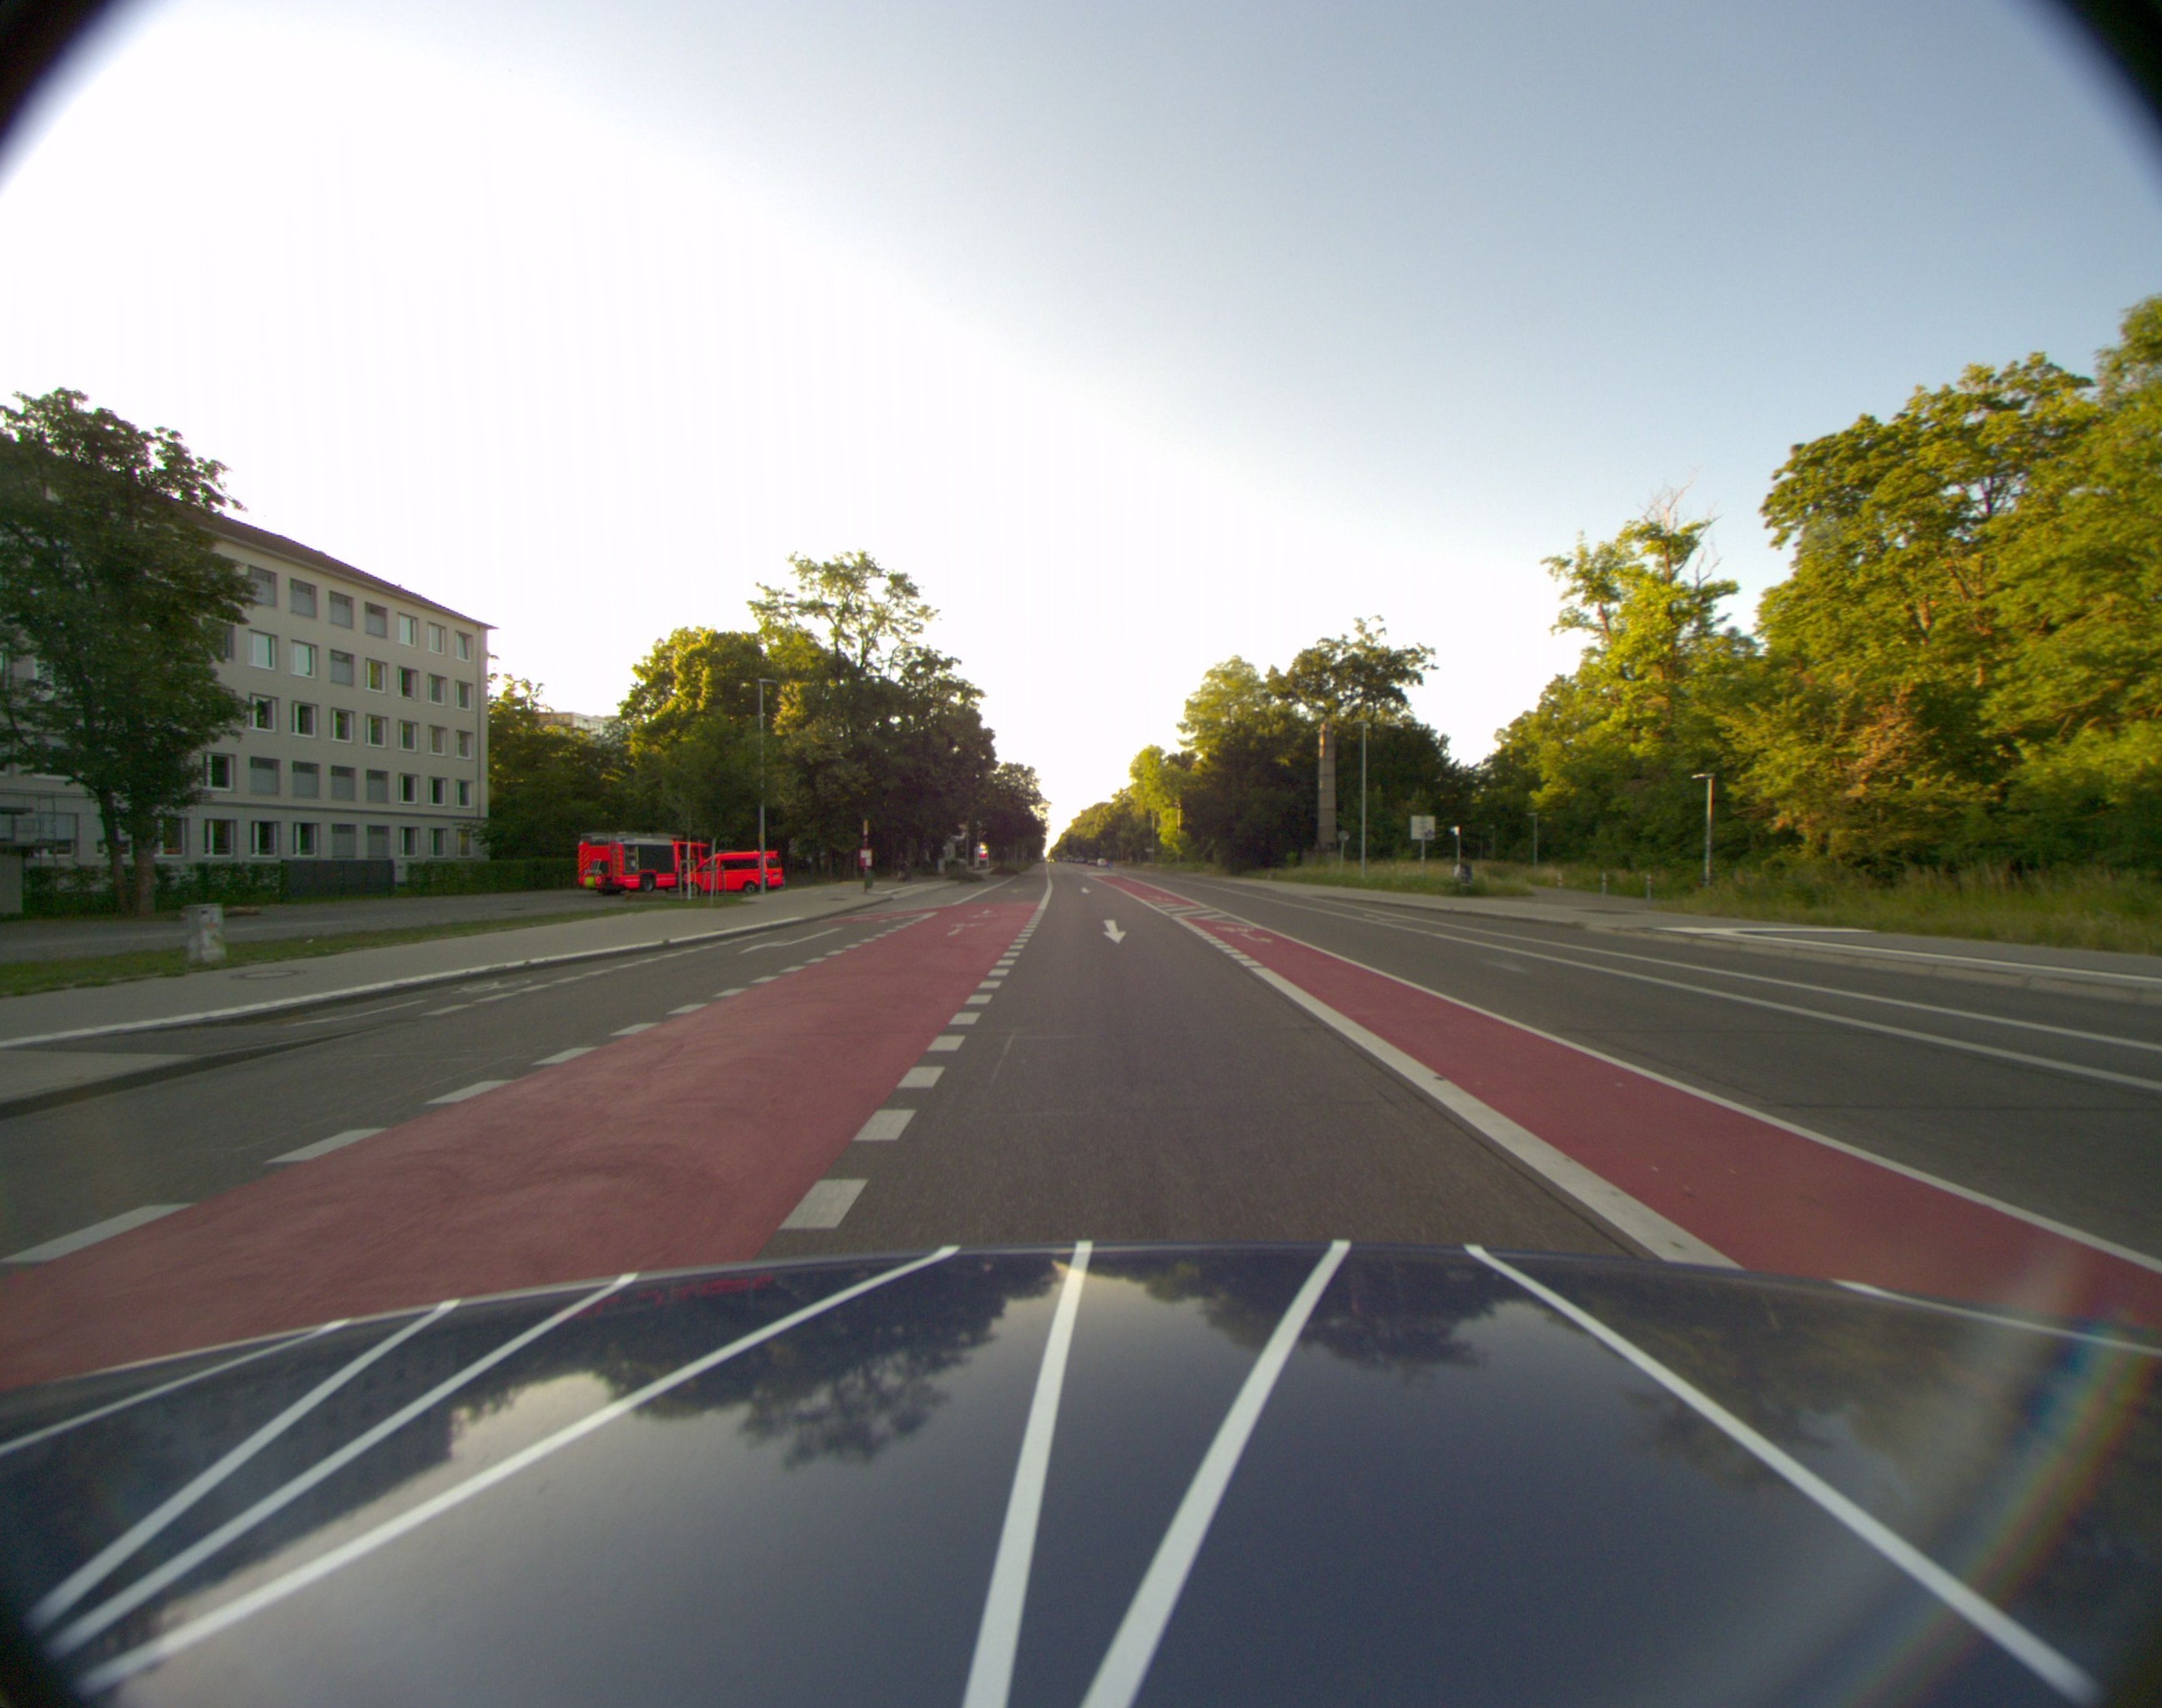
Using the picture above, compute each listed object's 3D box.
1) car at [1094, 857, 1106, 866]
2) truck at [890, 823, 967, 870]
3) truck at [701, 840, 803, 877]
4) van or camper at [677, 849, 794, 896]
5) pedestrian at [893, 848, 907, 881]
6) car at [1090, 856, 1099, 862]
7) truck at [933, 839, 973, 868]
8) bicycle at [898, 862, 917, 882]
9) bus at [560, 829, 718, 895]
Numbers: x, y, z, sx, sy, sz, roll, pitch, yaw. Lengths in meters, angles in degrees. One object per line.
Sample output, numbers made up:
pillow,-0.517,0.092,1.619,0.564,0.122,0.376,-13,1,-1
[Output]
car,3.490,1.334,140.399,1.852,1.405,4.181,-3,-2,-4
truck,-19.701,-0.860,97.041,5.167,5.541,15.048,-1,0,-30
truck,-29.455,0.396,68.073,8.645,3.192,2.765,0,0,18
van or camper,-17.545,0.931,38.740,4.823,2.231,2.296,-2,0,6
pedestrian,-11.206,0.654,47.026,0.725,2.002,0.695,0,1,-2
car,2.887,1.014,158.923,1.754,1.299,3.999,0,0,-2
truck,-17.758,-0.128,106.867,3.227,3.707,15.882,-2,0,-2
bicycle,-10.721,1.090,47.102,0.833,1.091,1.967,-5,1,-6
bus,-23.577,0.367,41.172,2.993,3.177,7.969,-1,0,8
